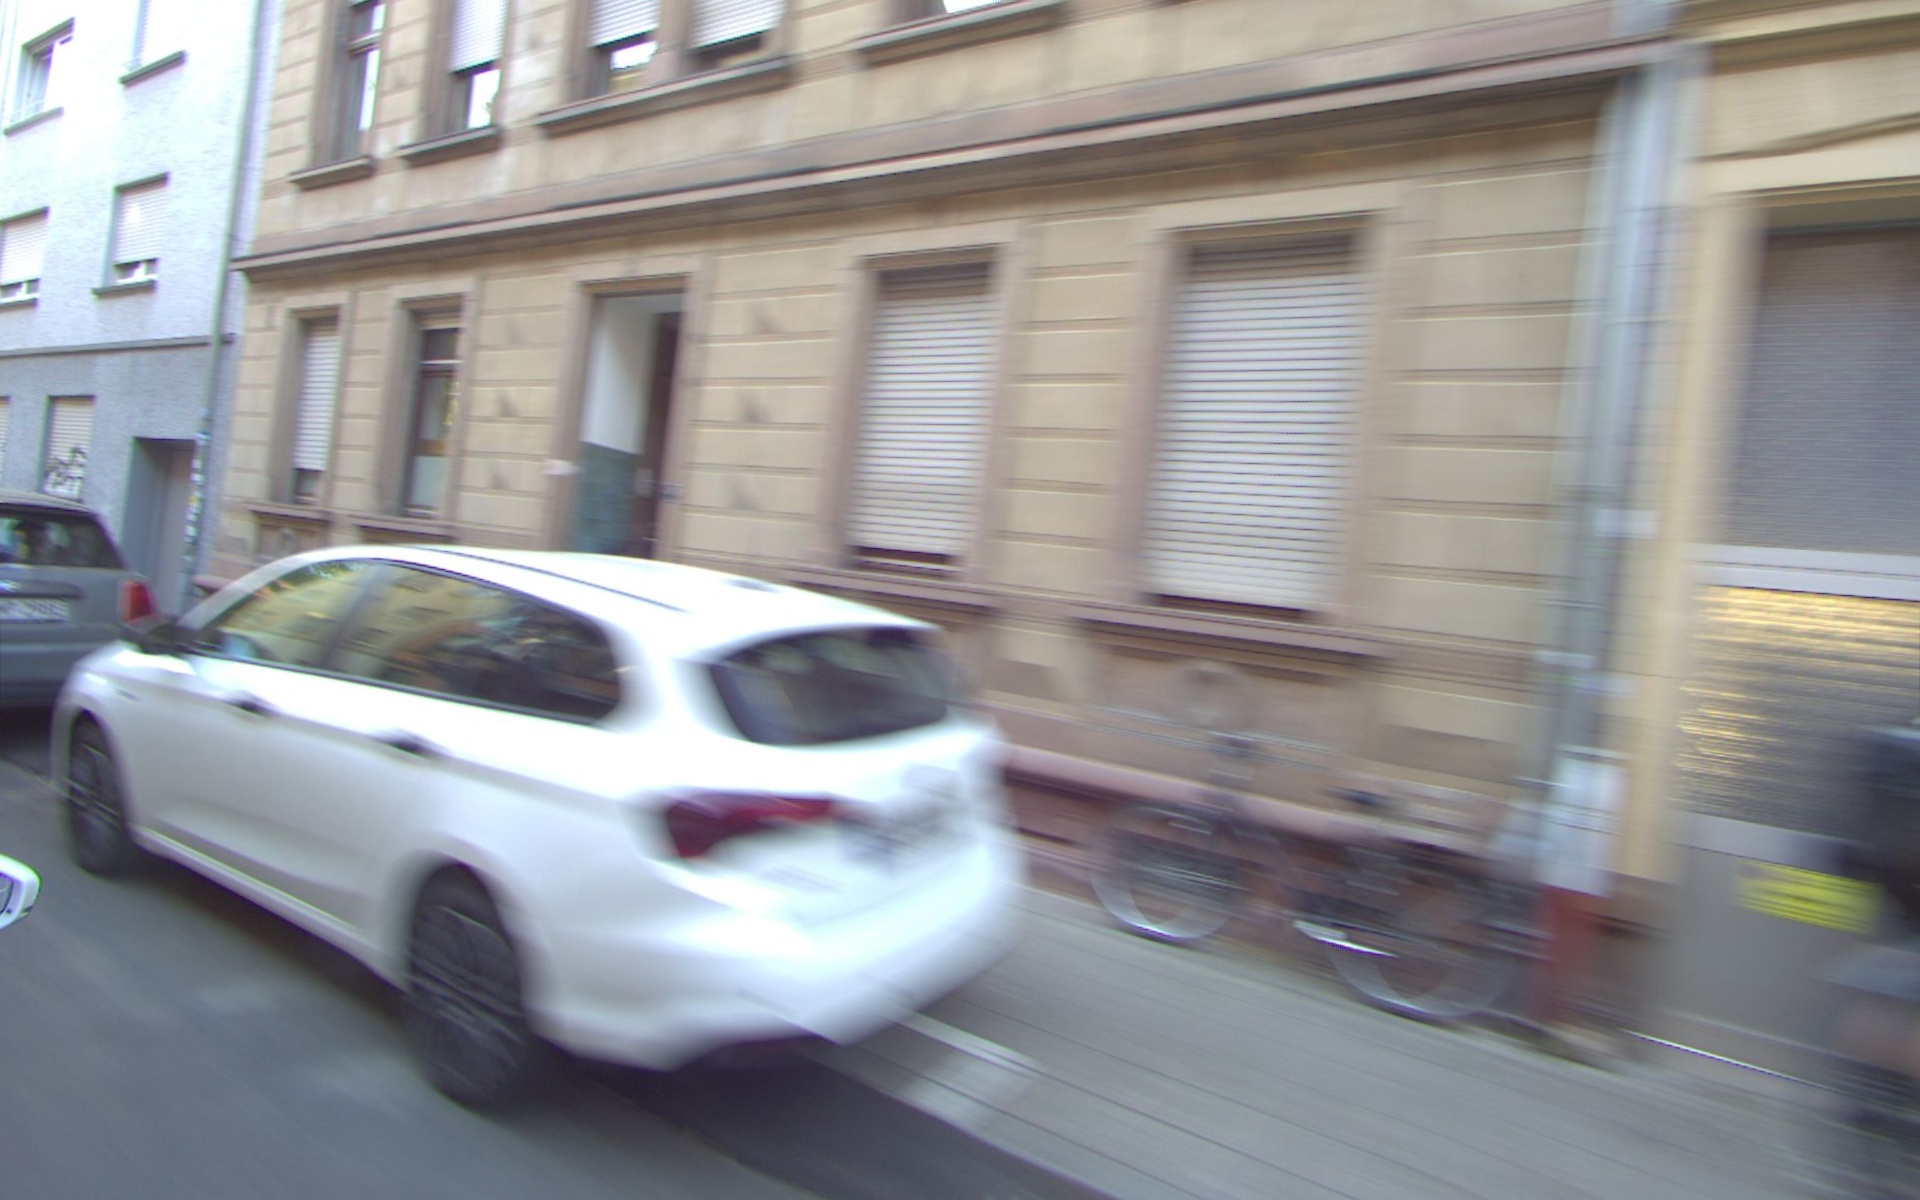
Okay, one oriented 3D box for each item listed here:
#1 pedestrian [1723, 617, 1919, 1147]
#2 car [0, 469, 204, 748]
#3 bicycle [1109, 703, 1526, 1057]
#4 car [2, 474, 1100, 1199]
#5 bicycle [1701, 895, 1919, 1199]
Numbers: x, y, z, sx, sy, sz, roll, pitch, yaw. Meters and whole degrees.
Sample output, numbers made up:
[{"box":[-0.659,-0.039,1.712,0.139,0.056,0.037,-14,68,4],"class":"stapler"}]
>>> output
[{"box":[3.451,0.938,3.539,0.865,1.651,0.654,6,2,-10],"class":"pedestrian"},{"box":[-6.975,-0.151,6.725,4.218,1.473,1.752,8,4,33],"class":"car"},{"box":[1.523,1.120,4.401,1.541,1.080,0.517,7,2,31],"class":"bicycle"},{"box":[-1.873,0.477,4.027,4.368,1.539,1.753,8,4,31],"class":"car"},{"box":[3.447,1.499,3.205,1.796,0.827,0.595,6,2,-10],"class":"bicycle"}]
